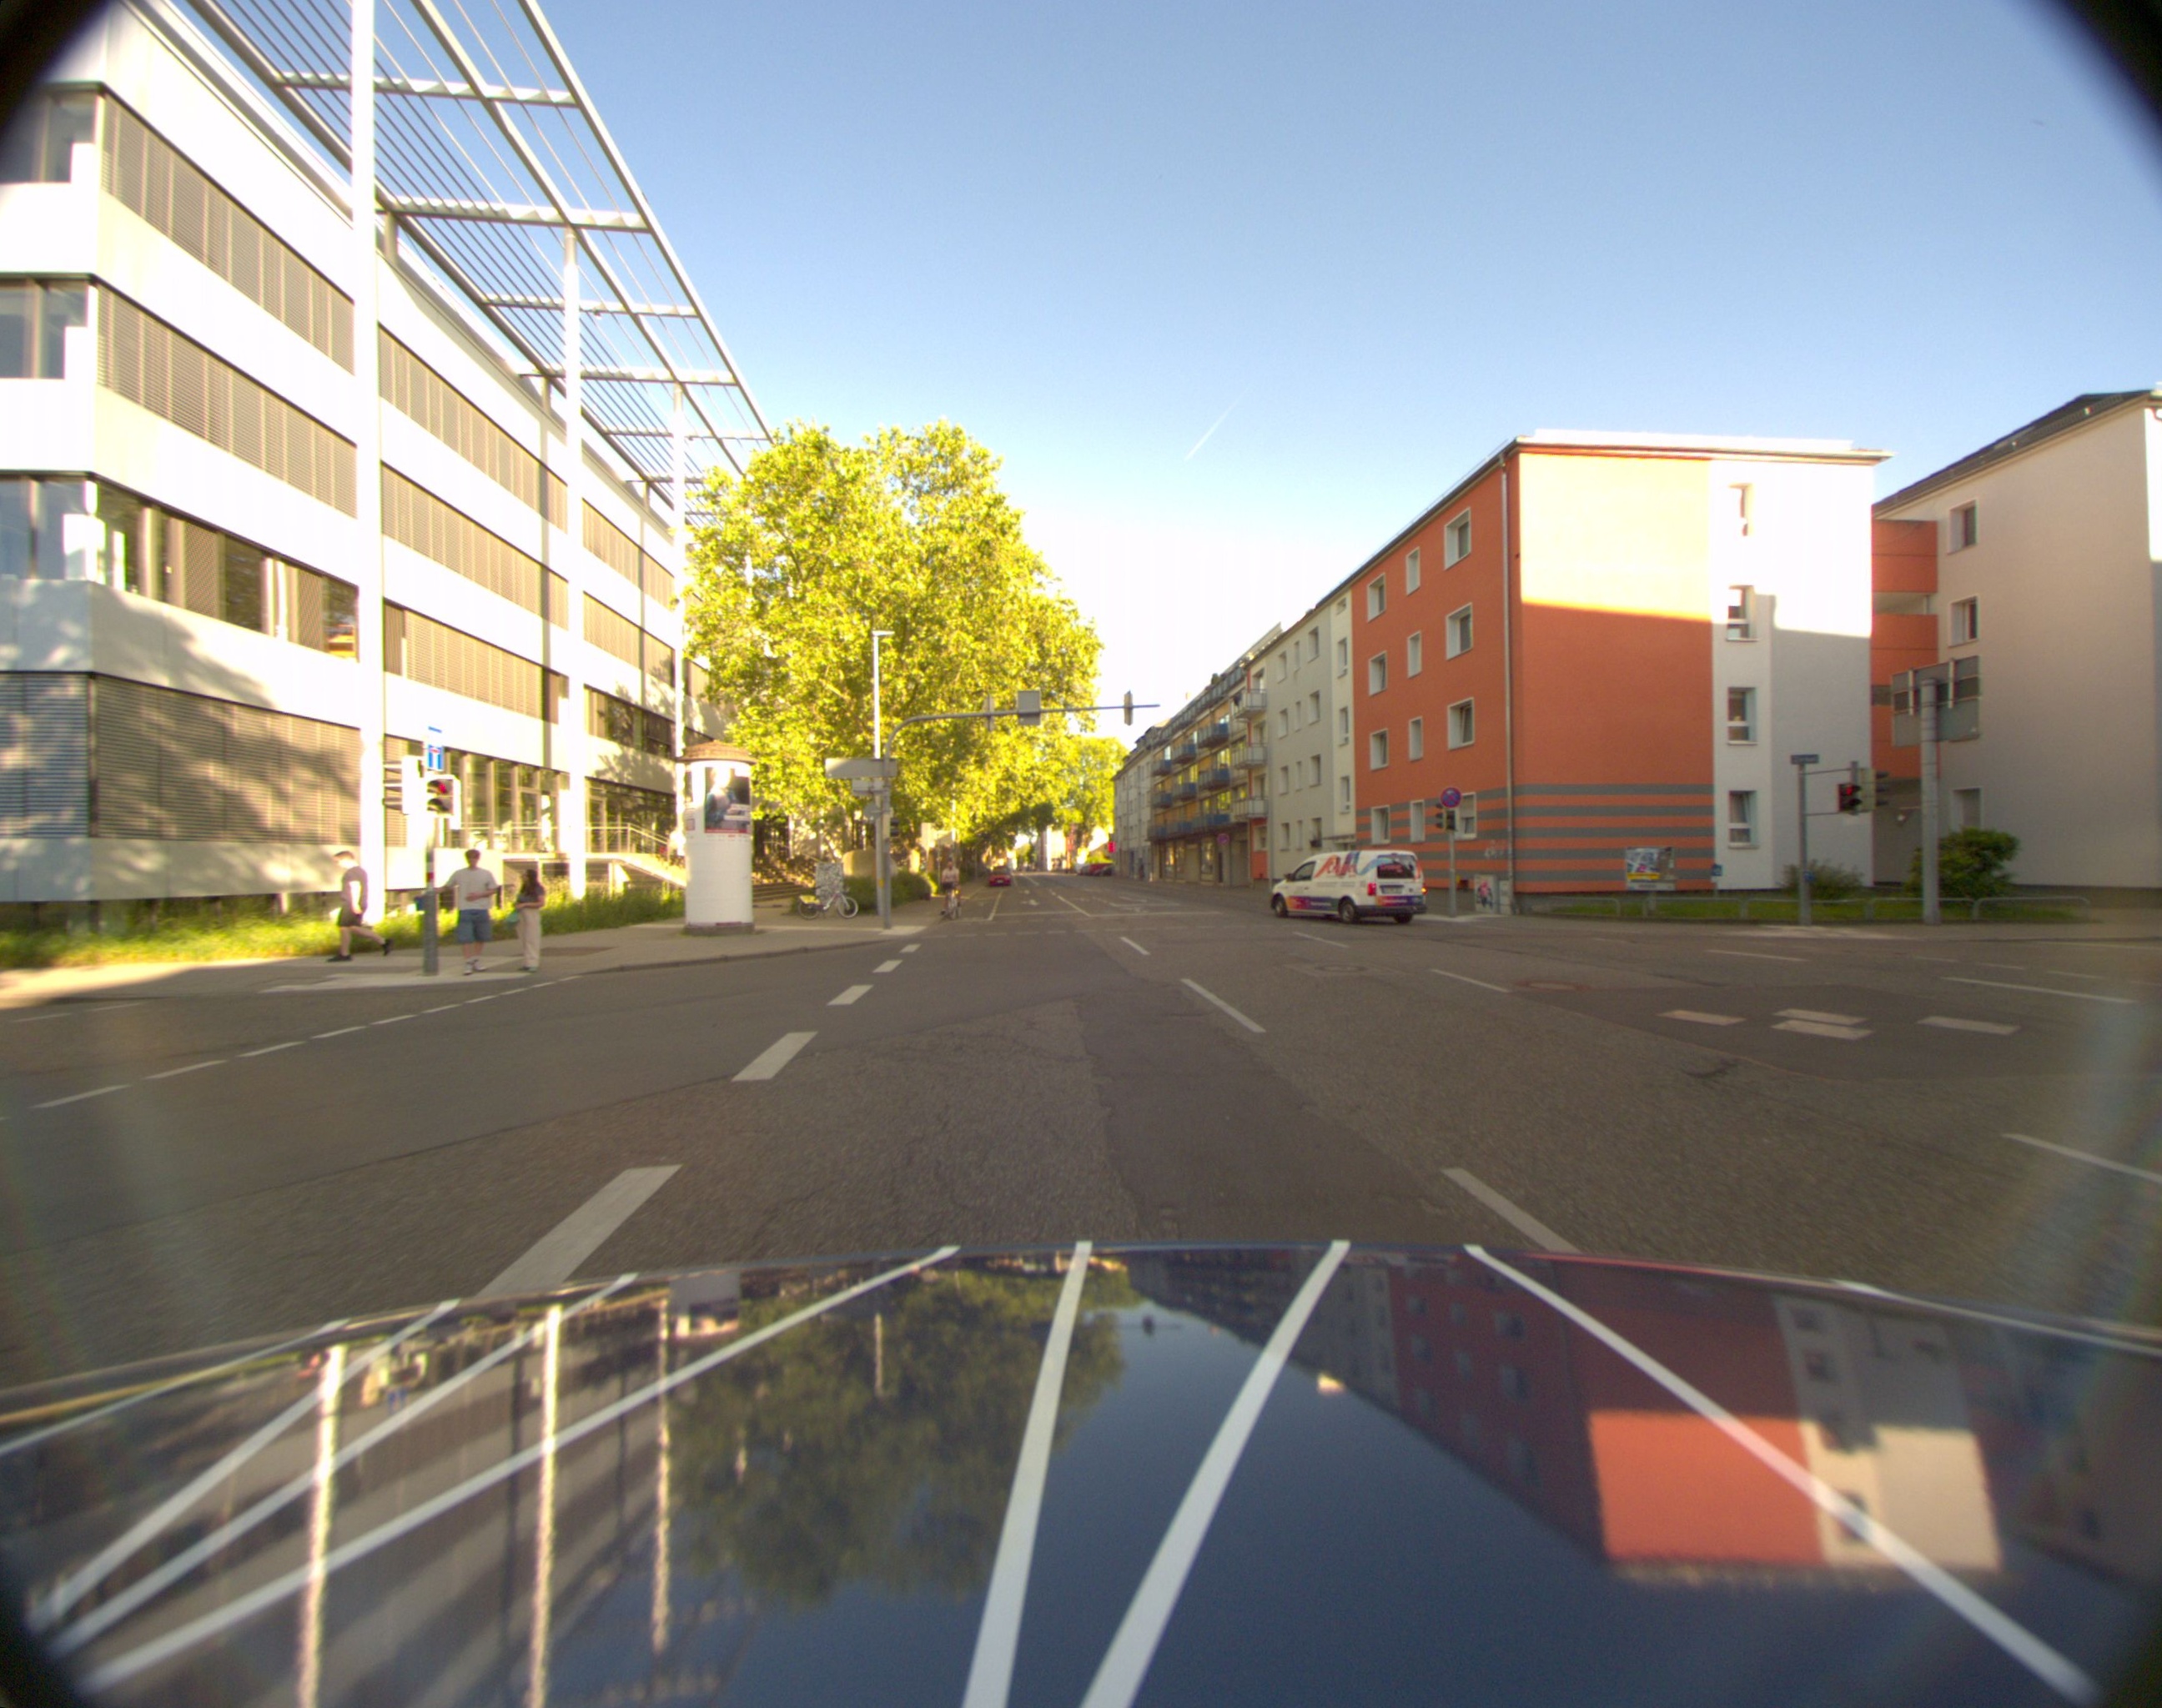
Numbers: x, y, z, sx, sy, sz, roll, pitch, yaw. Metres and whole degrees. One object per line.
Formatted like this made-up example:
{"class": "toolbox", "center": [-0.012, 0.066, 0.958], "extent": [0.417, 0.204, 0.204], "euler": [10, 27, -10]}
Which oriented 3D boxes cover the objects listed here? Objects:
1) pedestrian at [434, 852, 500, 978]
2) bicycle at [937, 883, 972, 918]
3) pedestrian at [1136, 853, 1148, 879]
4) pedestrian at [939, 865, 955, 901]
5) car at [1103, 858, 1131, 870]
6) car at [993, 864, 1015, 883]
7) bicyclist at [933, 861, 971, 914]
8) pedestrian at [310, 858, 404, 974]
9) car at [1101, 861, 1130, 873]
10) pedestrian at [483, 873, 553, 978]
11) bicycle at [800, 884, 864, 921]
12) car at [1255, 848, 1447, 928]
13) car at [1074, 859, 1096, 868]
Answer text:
{"class": "pedestrian", "center": [-9.220, 0.887, 11.430], "extent": [0.604, 1.828, 0.569], "euler": [-1, 0, -20]}
{"class": "bicycle", "center": [-3.969, 1.444, 24.016], "extent": [0.703, 1.060, 1.929], "euler": [-1, -2, 3]}
{"class": "pedestrian", "center": [5.619, 1.071, 70.491], "extent": [0.914, 2.382, 1.087], "euler": [0, 0, -6]}
{"class": "pedestrian", "center": [-6.964, 1.510, 39.561], "extent": [0.671, 1.786, 0.665], "euler": [-4, 1, -11]}
{"class": "car", "center": [5.354, 1.532, 113.297], "extent": [3.998, 1.689, 1.833], "euler": [0, 0, -3]}
{"class": "car", "center": [-6.632, 1.635, 65.350], "extent": [1.787, 1.520, 4.655], "euler": [-1, -1, -6]}
{"class": "bicyclist", "center": [-4.033, 1.036, 23.881], "extent": [0.949, 1.630, 1.008], "euler": [-2, 0, 3]}
{"class": "pedestrian", "center": [-11.594, 0.960, 12.209], "extent": [0.997, 1.762, 0.604], "euler": [-1, 4, -37]}
{"class": "car", "center": [4.853, 1.867, 107.849], "extent": [3.998, 1.689, 1.833], "euler": [0, 0, -3]}
{"class": "pedestrian", "center": [-8.518, 1.057, 11.523], "extent": [0.674, 1.515, 0.560], "euler": [-1, 0, -17]}
{"class": "bicycle", "center": [-7.158, 1.384, 21.860], "extent": [1.639, 0.993, 0.620], "euler": [1, 1, -30]}
{"class": "car", "center": [6.843, 0.896, 19.978], "extent": [2.002, 1.805, 5.119], "euler": [2, -3, -19]}
{"class": "car", "center": [0.695, 1.766, 138.263], "extent": [3.998, 1.689, 1.833], "euler": [0, 0, -3]}
